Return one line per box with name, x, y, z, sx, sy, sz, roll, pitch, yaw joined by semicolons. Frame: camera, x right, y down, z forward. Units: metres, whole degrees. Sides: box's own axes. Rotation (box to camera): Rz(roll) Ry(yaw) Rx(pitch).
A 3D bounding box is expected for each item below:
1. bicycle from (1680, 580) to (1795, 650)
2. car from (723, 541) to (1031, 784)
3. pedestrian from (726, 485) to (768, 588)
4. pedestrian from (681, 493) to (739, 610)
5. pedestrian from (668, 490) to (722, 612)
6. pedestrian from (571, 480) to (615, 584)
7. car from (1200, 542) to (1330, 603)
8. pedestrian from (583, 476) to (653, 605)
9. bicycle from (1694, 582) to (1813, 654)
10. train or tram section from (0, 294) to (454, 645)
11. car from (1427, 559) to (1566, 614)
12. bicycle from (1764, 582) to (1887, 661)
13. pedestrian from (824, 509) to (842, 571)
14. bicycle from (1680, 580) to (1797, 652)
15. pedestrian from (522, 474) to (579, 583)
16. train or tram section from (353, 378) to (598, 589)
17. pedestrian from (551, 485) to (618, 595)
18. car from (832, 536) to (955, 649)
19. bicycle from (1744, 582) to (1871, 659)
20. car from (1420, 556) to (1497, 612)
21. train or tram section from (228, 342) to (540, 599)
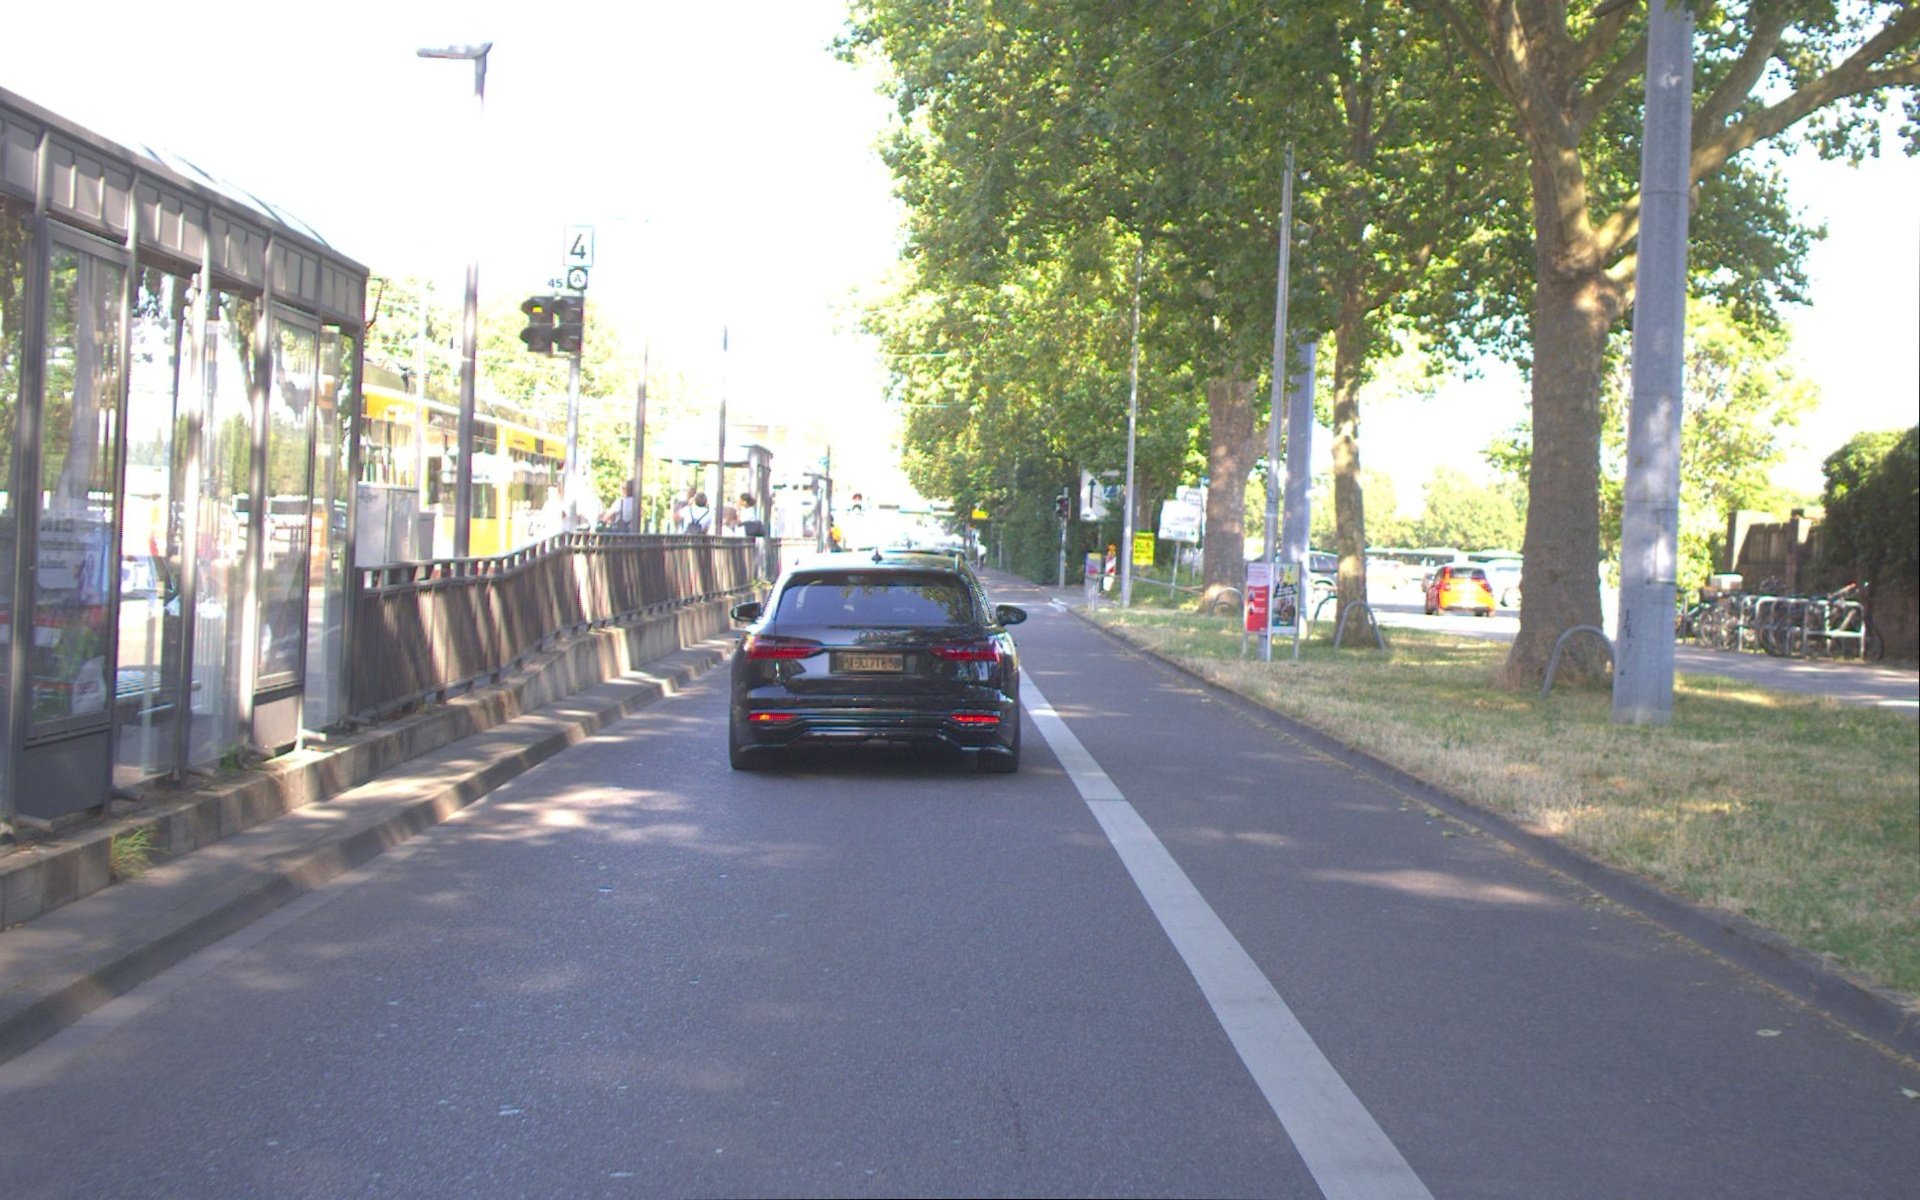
bicycle;12.914;0.242;57.124;1.773;1.116;0.439;1;1;-1
car;-0.590;0.359;22.920;1.878;1.452;3.357;1;1;-3
pedestrian;-3.744;-1.120;60.459;0.611;1.778;0.613;3;1;0
pedestrian;-3.565;-0.690;49.048;0.611;1.636;0.614;2;1;-20
pedestrian;-3.705;-0.689;48.123;0.611;1.663;0.613;3;1;2
pedestrian;-6.378;-1.178;59.732;0.611;1.778;0.775;3;1;0
car;9.848;-0.897;111.243;3.987;1.758;1.833;3;1;1
pedestrian;-4.192;-0.726;42.156;0.614;1.543;0.724;3;1;10
bicycle;12.691;0.285;54.993;1.773;1.116;0.439;1;1;-1
train or tram section;-9.488;-1.591;45.982;3.309;3.816;14.220;3;1;-1
car;18.306;-0.474;117.401;4.459;1.653;1.917;3;1;4
bicycle;12.794;0.315;50.842;1.687;1.116;0.439;1;1;-1
pedestrian;-3.607;-1.697;97.393;0.412;1.711;0.666;3;1;0
bicycle;12.694;0.260;56.079;1.773;1.116;0.439;1;1;-1
pedestrian;-6.848;-1.197;57.549;0.793;1.778;0.625;3;1;0
train or tram section;-9.777;-2.294;70.842;3.309;3.816;11.844;3;1;-1
pedestrian;-6.220;-0.991;56.953;0.793;1.778;0.649;2;1;-40
car;-1.072;-0.150;53.698;1.762;1.613;4.001;3;1;-3
bicycle;12.789;0.310;51.909;1.773;1.116;0.439;1;1;-1
car;14.505;-0.478;100.119;1.614;1.510;3.803;3;1;0
train or tram section;-9.616;-2.096;59.042;3.309;3.816;11.844;3;1;-1
